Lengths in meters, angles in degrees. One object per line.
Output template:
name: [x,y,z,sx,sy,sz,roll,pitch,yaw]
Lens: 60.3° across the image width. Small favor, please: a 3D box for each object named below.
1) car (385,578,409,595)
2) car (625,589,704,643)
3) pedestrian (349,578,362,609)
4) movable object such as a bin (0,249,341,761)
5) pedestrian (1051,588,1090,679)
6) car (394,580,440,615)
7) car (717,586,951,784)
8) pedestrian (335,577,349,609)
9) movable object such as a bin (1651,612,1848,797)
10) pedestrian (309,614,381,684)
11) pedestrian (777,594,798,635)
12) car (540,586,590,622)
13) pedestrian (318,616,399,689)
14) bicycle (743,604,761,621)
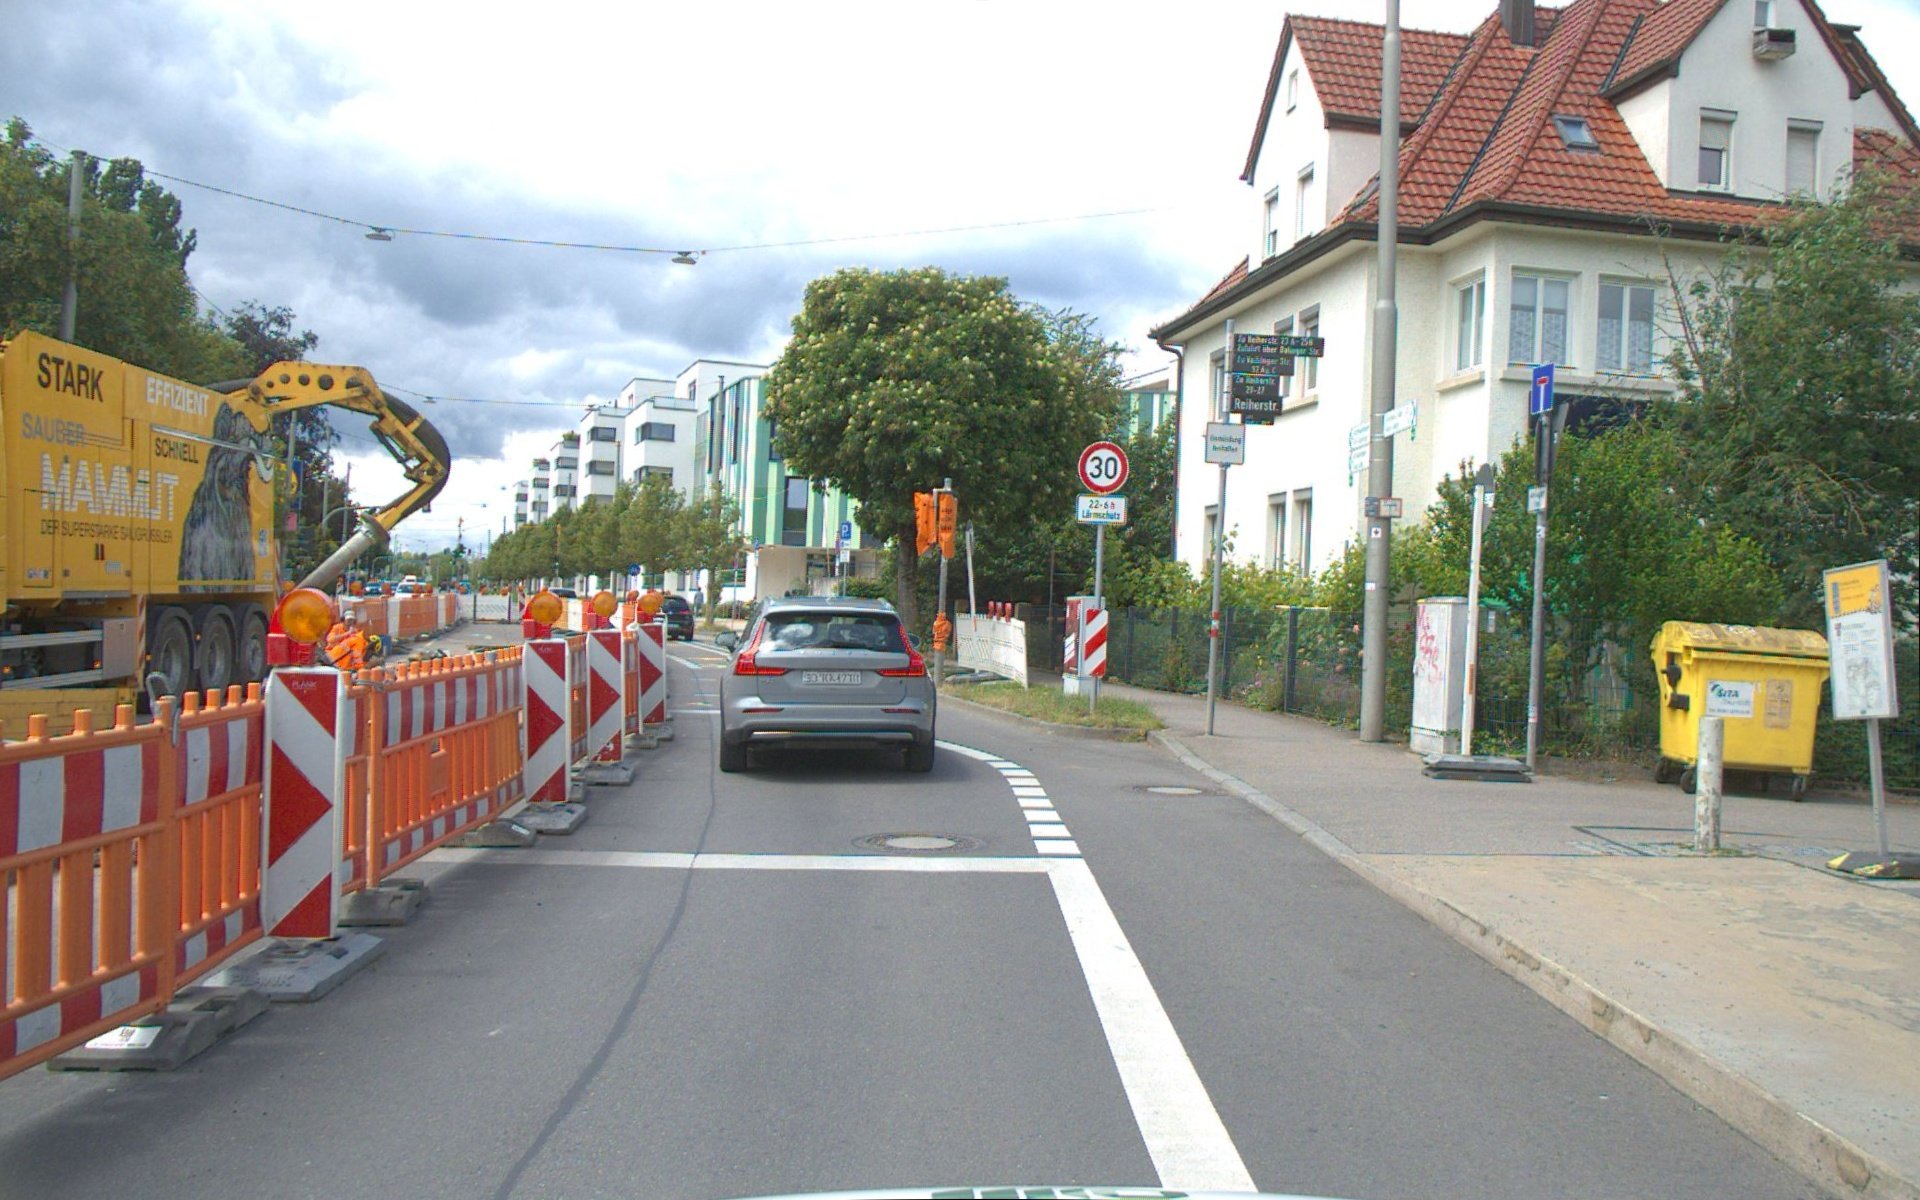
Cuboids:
car: [-52.790,-1.273,155.133,1.823,1.539,3.984,2,0,-15]
car: [-9.600,0.495,53.447,1.827,1.539,3.977,3,-1,-20]
pedestrian: [-36.762,-0.390,100.525,0.671,1.887,0.887,2,-1,-19]
movable object such as a bin: [-9.648,-0.824,17.802,2.540,4.295,11.110,1,0,-5]
pedestrian: [1.943,0.583,29.176,0.511,1.566,0.634,1,0,-10]
car: [-24.972,-0.142,76.166,1.825,1.478,3.981,3,-1,-17]
car: [-1.185,0.678,15.117,1.818,1.539,3.995,1,0,-6]
pedestrian: [-37.459,-0.417,100.245,0.671,1.887,0.703,2,-1,-19]
movable object such as a bin: [6.908,0.888,14.541,1.241,1.496,1.005,3,0,6]
pedestrian: [-9.160,0.724,24.659,0.627,1.008,0.793,1,0,19]
pedestrian: [-6.613,0.553,63.417,0.572,1.579,0.864,2,-1,-19]
car: [-18.589,0.180,77.808,1.817,1.539,3.977,3,-1,-20]
pedestrian: [-8.648,0.750,23.791,0.774,1.008,0.812,1,0,9]
bicycle: [-10.962,0.671,87.332,0.301,0.856,1.020,1,0,38]
